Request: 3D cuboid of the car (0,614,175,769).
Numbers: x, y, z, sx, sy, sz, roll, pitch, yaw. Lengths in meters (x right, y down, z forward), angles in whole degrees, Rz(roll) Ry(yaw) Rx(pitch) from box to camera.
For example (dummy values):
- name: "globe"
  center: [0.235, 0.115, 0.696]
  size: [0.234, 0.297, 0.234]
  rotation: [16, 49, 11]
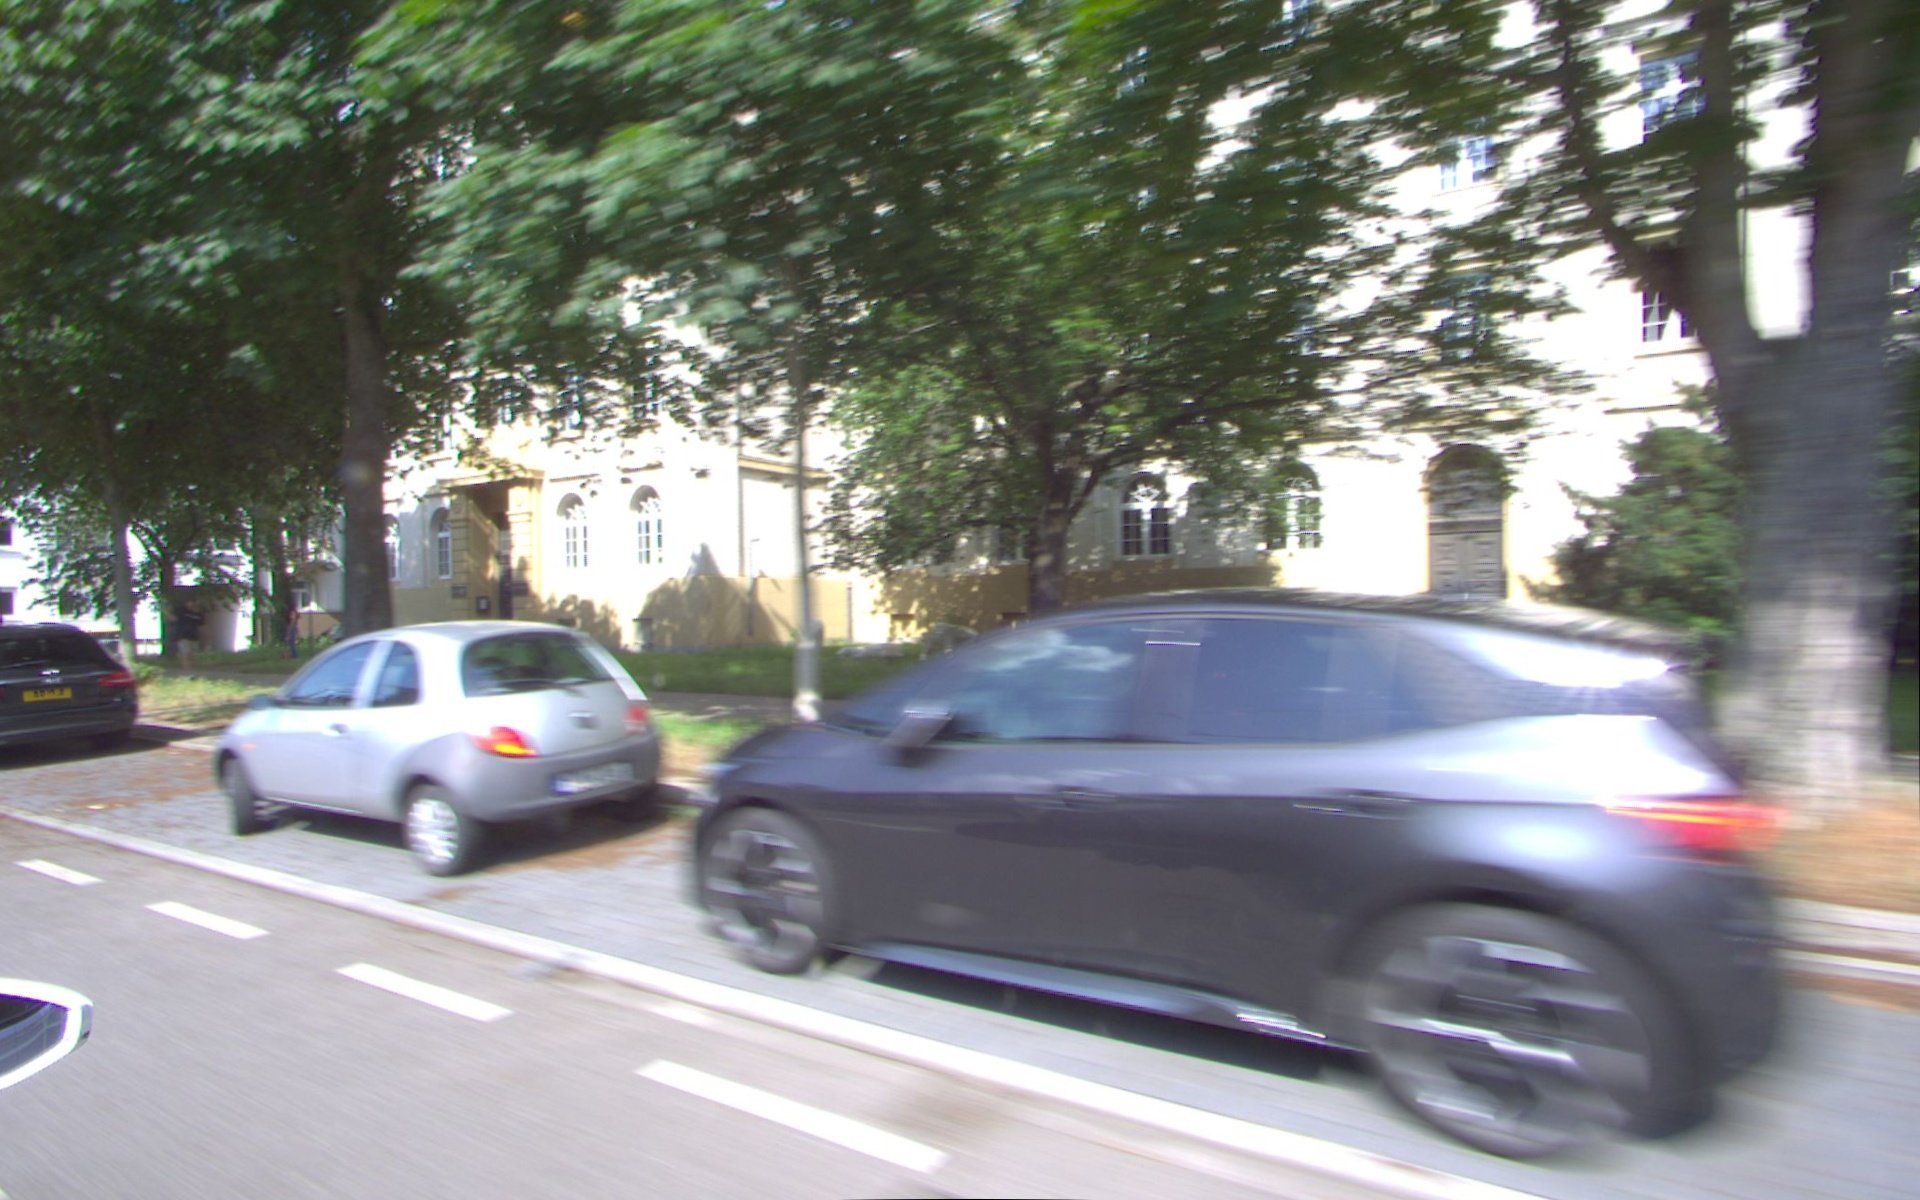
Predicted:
- name: "car"
  center: [-11.406, 0.953, 11.662]
  size: [4.725, 1.462, 1.913]
  rotation: [0, 3, 30]

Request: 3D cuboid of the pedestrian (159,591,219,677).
- name: "pedestrian"
  center: [-15.829, 0.688, 20.561]
  size: [0.756, 1.719, 0.742]
  rotation: [0, 1, 32]

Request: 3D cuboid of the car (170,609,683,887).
- name: "car"
  center: [-3.823, 0.846, 7.060]
  size: [3.546, 1.464, 1.587]
  rotation: [-1, 1, 32]

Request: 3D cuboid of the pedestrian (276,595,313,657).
- name: "pedestrian"
  center: [-17.796, 0.695, 26.776]
  size: [0.531, 1.617, 0.630]
  rotation: [-1, 1, 28]

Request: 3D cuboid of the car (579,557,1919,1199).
- name: "car"
  center: [0.650, 0.713, 4.151]
  size: [4.610, 1.605, 1.721]
  rotation: [-1, 1, 32]

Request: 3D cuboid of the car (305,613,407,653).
- name: "car"
  center: [-24.072, 1.303, 39.893]
  size: [3.939, 1.478, 1.737]
  rotation: [-1, 0, 29]
